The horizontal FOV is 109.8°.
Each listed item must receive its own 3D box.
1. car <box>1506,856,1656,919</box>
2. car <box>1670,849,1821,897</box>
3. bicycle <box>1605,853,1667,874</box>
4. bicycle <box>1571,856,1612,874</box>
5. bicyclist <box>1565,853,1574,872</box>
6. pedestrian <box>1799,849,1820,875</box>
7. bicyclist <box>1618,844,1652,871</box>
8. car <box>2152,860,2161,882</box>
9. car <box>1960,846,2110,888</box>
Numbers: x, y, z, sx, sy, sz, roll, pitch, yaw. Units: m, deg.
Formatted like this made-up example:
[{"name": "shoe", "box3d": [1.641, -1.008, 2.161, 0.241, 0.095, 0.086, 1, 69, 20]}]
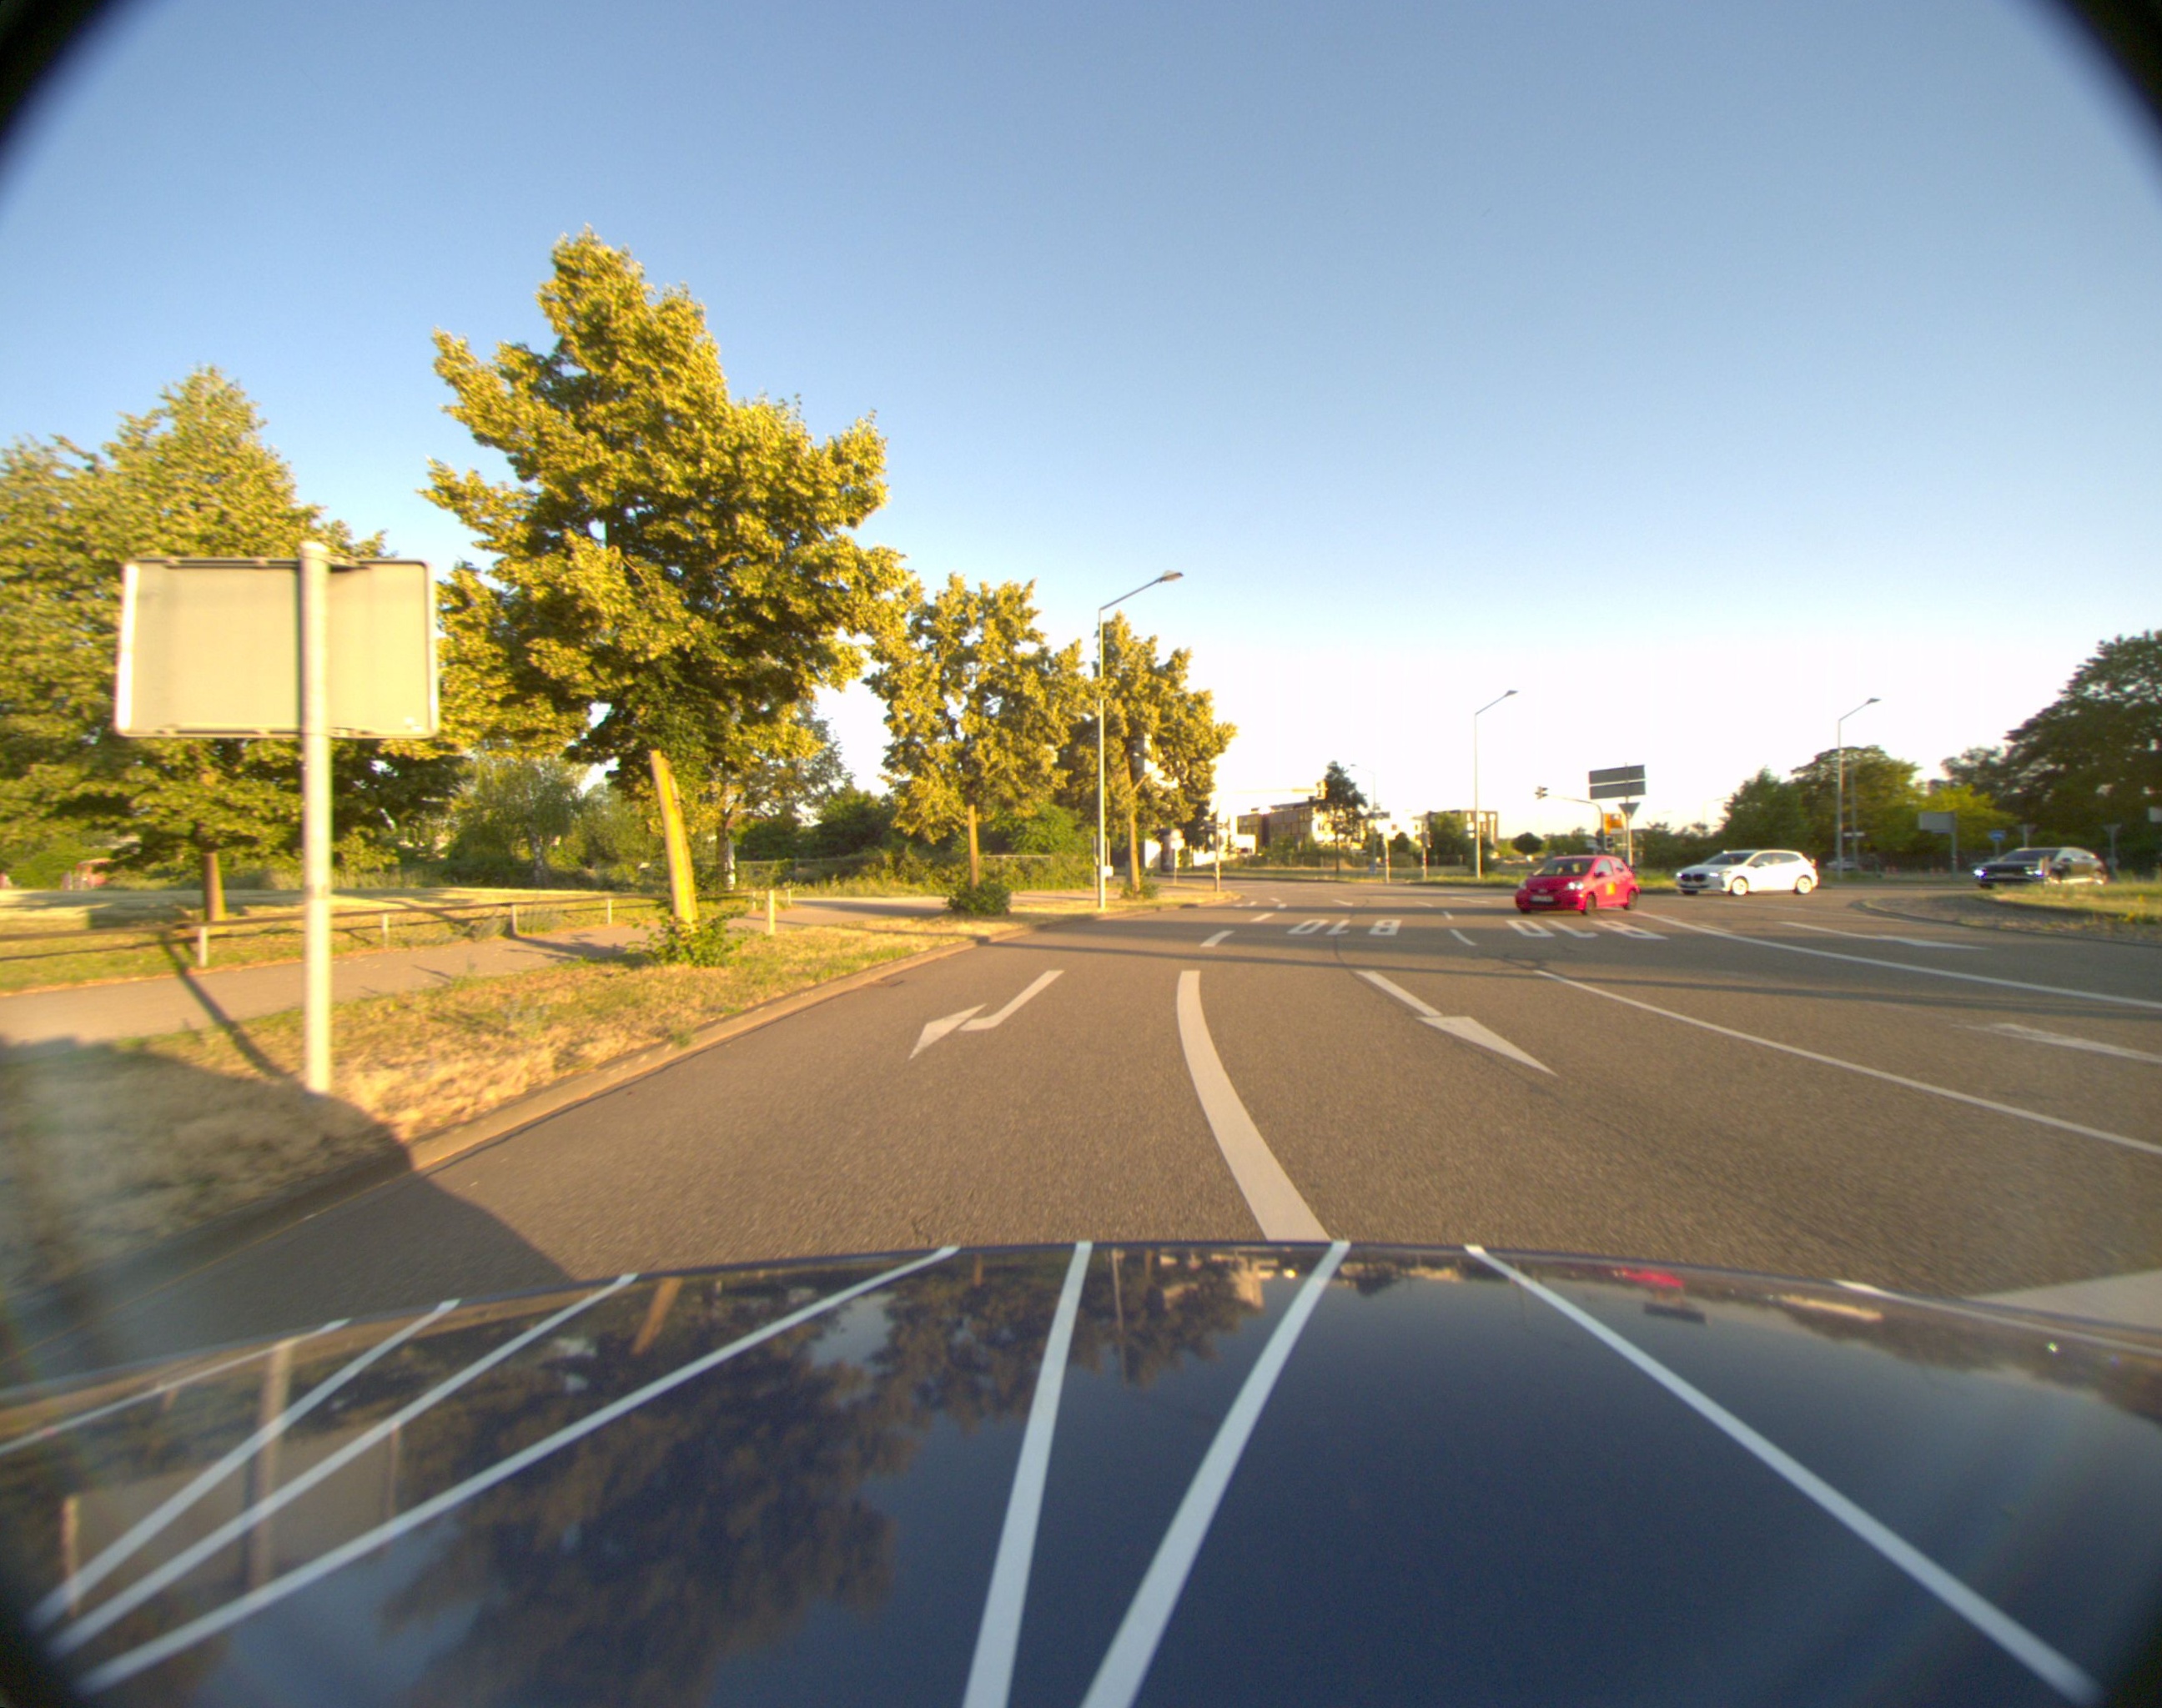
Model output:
[{"name": "car", "box3d": [12.789, 0.791, 19.347, 4.218, 1.413, 1.690, 0, 0, -34]}, {"name": "car", "box3d": [22.984, 0.631, 26.313, 4.216, 1.549, 1.758, 0, 0, -12]}, {"name": "bicycle", "box3d": [36.531, 0.616, 50.051, 3.539, 1.387, 1.123, 0, 0, -9]}, {"name": "bicycle", "box3d": [34.653, 0.765, 51.609, 2.329, 1.172, 0.810, 0, 0, -7]}, {"name": "bicyclist", "box3d": [36.672, 0.644, 57.000, 0.475, 1.389, 0.447, -1, 0, -42]}, {"name": "pedestrian", "box3d": [47.637, 0.526, 49.716, 0.888, 1.691, 0.722, -1, 0, 36]}, {"name": "bicyclist", "box3d": [36.437, 0.233, 49.973, 1.417, 1.739, 1.123, -1, 0, -9]}, {"name": "car", "box3d": [68.914, 1.060, 46.327, 1.940, 1.423, 4.410, -1, -1, 18]}, {"name": "car", "box3d": [36.768, 0.482, 29.317, 4.215, 1.549, 1.827, 0, 0, -10]}]
